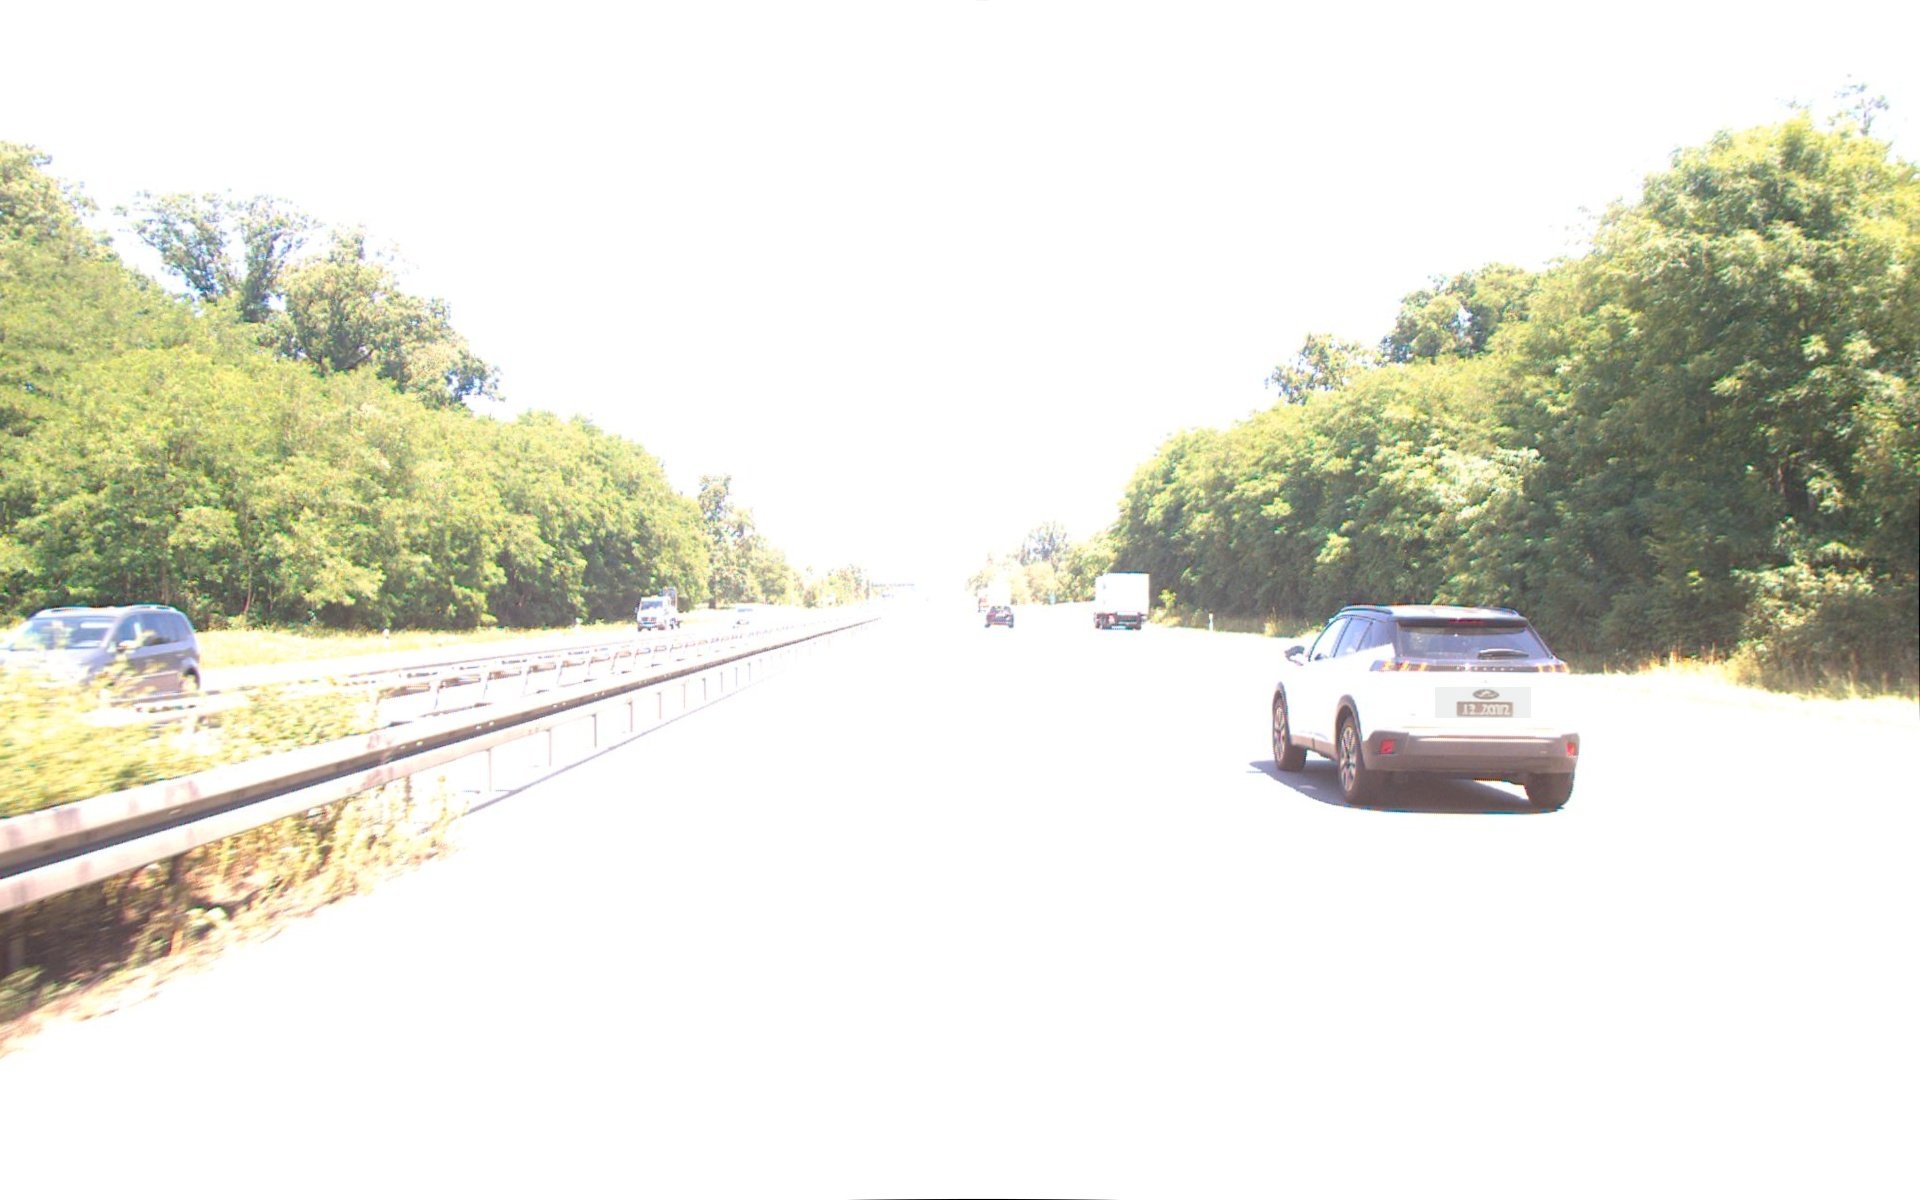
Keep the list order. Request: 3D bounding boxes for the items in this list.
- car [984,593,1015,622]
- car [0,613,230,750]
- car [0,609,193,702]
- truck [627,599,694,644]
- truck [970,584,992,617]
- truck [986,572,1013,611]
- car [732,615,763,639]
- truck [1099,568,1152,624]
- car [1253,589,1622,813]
[{"bbox_3d":[2.434,0.472,103.067,1.790,1.736,3.999,1,0,-1],"label":"car"},{"bbox_3d":[-12.511,1.099,24.113,1.705,1.749,4.638,-2,0,-1],"label":"car"},{"bbox_3d":[-18.424,1.129,35.515,1.705,1.794,5.084,-2,0,-3],"label":"car"},{"bbox_3d":[-21.740,1.484,120.739,2.697,3.043,12.853,-1,0,-1],"label":"truck"},{"bbox_3d":[3.332,0.107,264.032,3.298,4.966,15.085,1,0,0],"label":"truck"},{"bbox_3d":[5.211,-1.064,220.923,3.308,4.966,15.085,1,0,0],"label":"truck"},{"bbox_3d":[-14.649,1.830,114.059,1.654,1.571,4.203,1,0,-1],"label":"car"},{"bbox_3d":[10.611,-0.218,106.735,2.965,3.377,10.775,1,0,4],"label":"truck"},{"bbox_3d":[3.918,0.747,14.491,1.790,1.636,4.807,0,0,-1],"label":"car"}]
